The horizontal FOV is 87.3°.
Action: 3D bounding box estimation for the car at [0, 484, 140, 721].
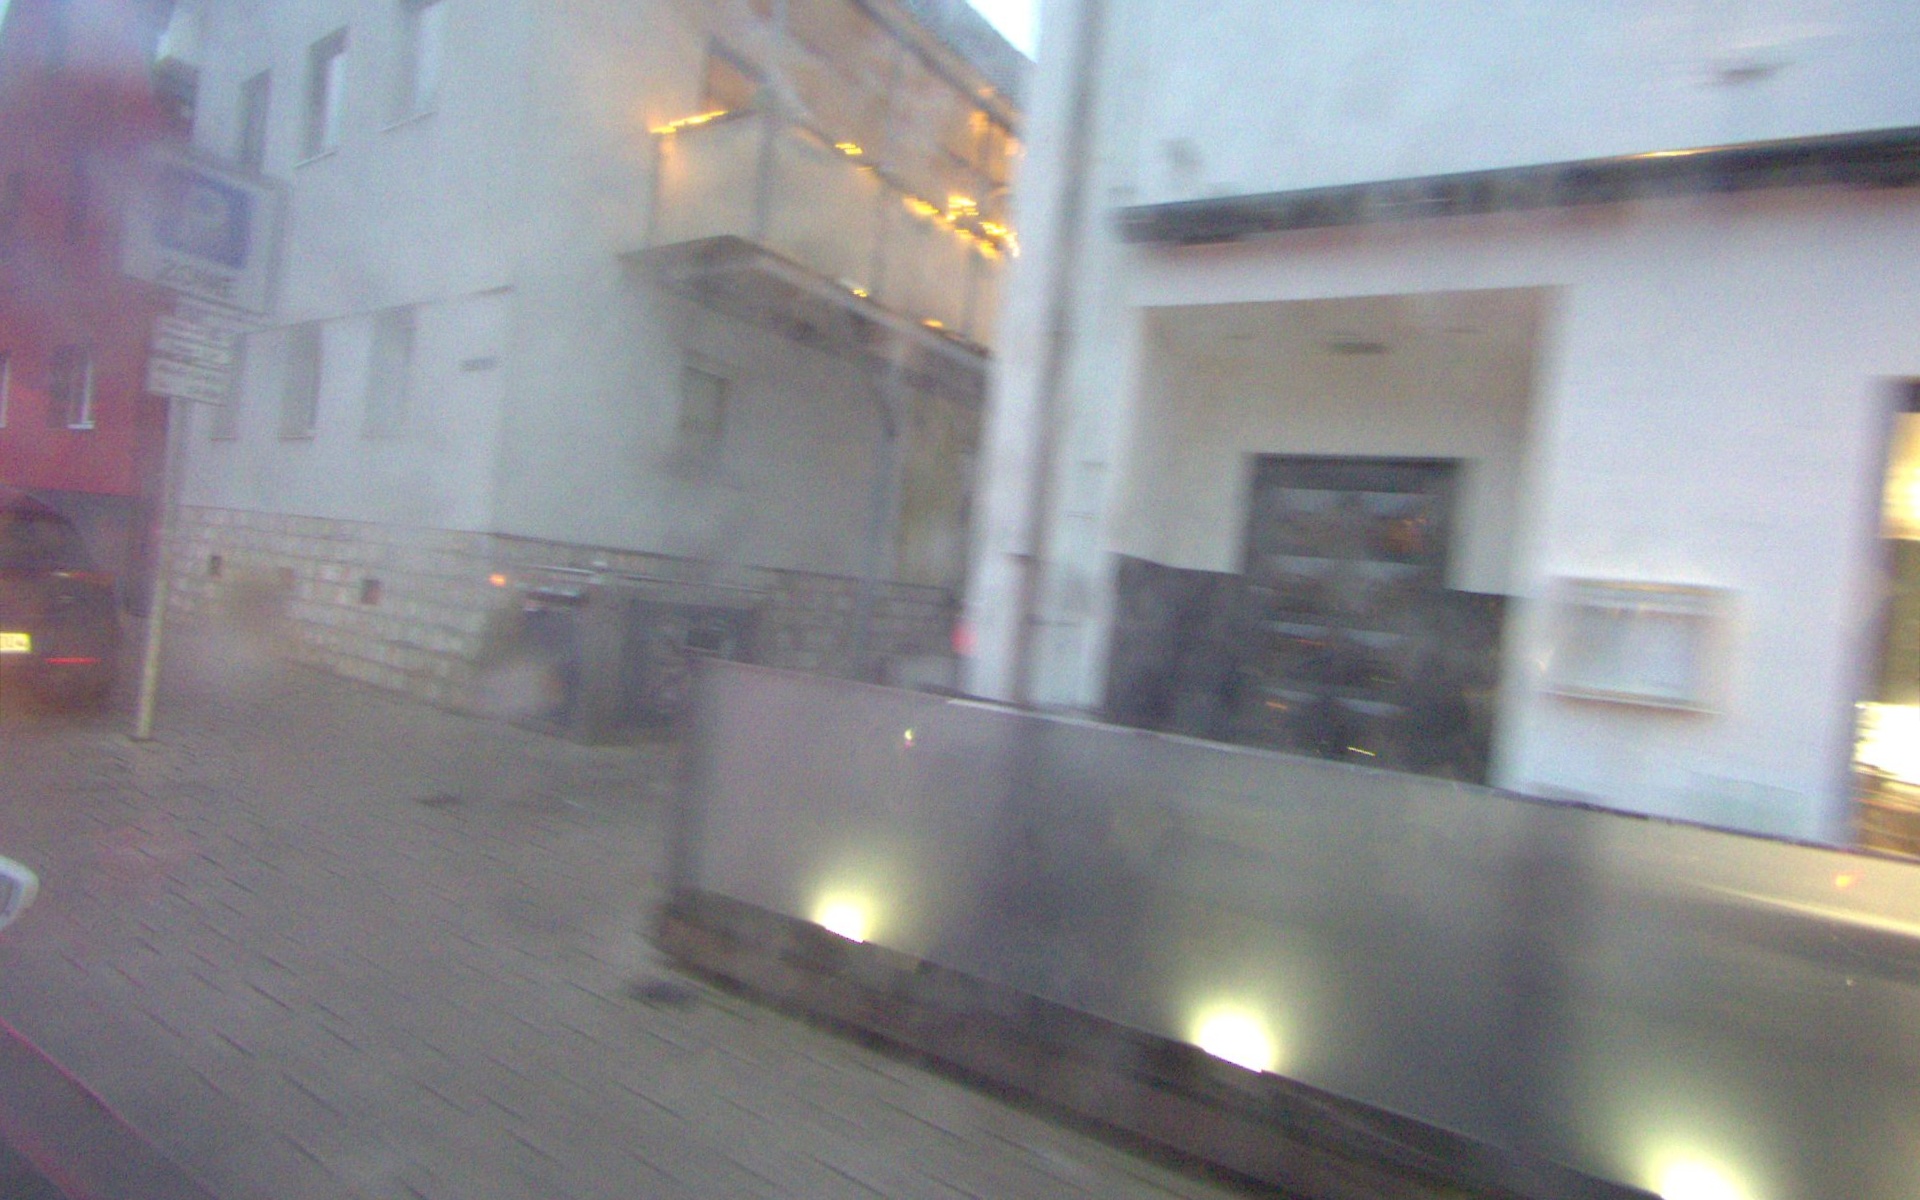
[{"bbox_3d":[-7.835,-0.177,7.346,4.131,1.484,1.727,7,2,34],"label":"car"}]
